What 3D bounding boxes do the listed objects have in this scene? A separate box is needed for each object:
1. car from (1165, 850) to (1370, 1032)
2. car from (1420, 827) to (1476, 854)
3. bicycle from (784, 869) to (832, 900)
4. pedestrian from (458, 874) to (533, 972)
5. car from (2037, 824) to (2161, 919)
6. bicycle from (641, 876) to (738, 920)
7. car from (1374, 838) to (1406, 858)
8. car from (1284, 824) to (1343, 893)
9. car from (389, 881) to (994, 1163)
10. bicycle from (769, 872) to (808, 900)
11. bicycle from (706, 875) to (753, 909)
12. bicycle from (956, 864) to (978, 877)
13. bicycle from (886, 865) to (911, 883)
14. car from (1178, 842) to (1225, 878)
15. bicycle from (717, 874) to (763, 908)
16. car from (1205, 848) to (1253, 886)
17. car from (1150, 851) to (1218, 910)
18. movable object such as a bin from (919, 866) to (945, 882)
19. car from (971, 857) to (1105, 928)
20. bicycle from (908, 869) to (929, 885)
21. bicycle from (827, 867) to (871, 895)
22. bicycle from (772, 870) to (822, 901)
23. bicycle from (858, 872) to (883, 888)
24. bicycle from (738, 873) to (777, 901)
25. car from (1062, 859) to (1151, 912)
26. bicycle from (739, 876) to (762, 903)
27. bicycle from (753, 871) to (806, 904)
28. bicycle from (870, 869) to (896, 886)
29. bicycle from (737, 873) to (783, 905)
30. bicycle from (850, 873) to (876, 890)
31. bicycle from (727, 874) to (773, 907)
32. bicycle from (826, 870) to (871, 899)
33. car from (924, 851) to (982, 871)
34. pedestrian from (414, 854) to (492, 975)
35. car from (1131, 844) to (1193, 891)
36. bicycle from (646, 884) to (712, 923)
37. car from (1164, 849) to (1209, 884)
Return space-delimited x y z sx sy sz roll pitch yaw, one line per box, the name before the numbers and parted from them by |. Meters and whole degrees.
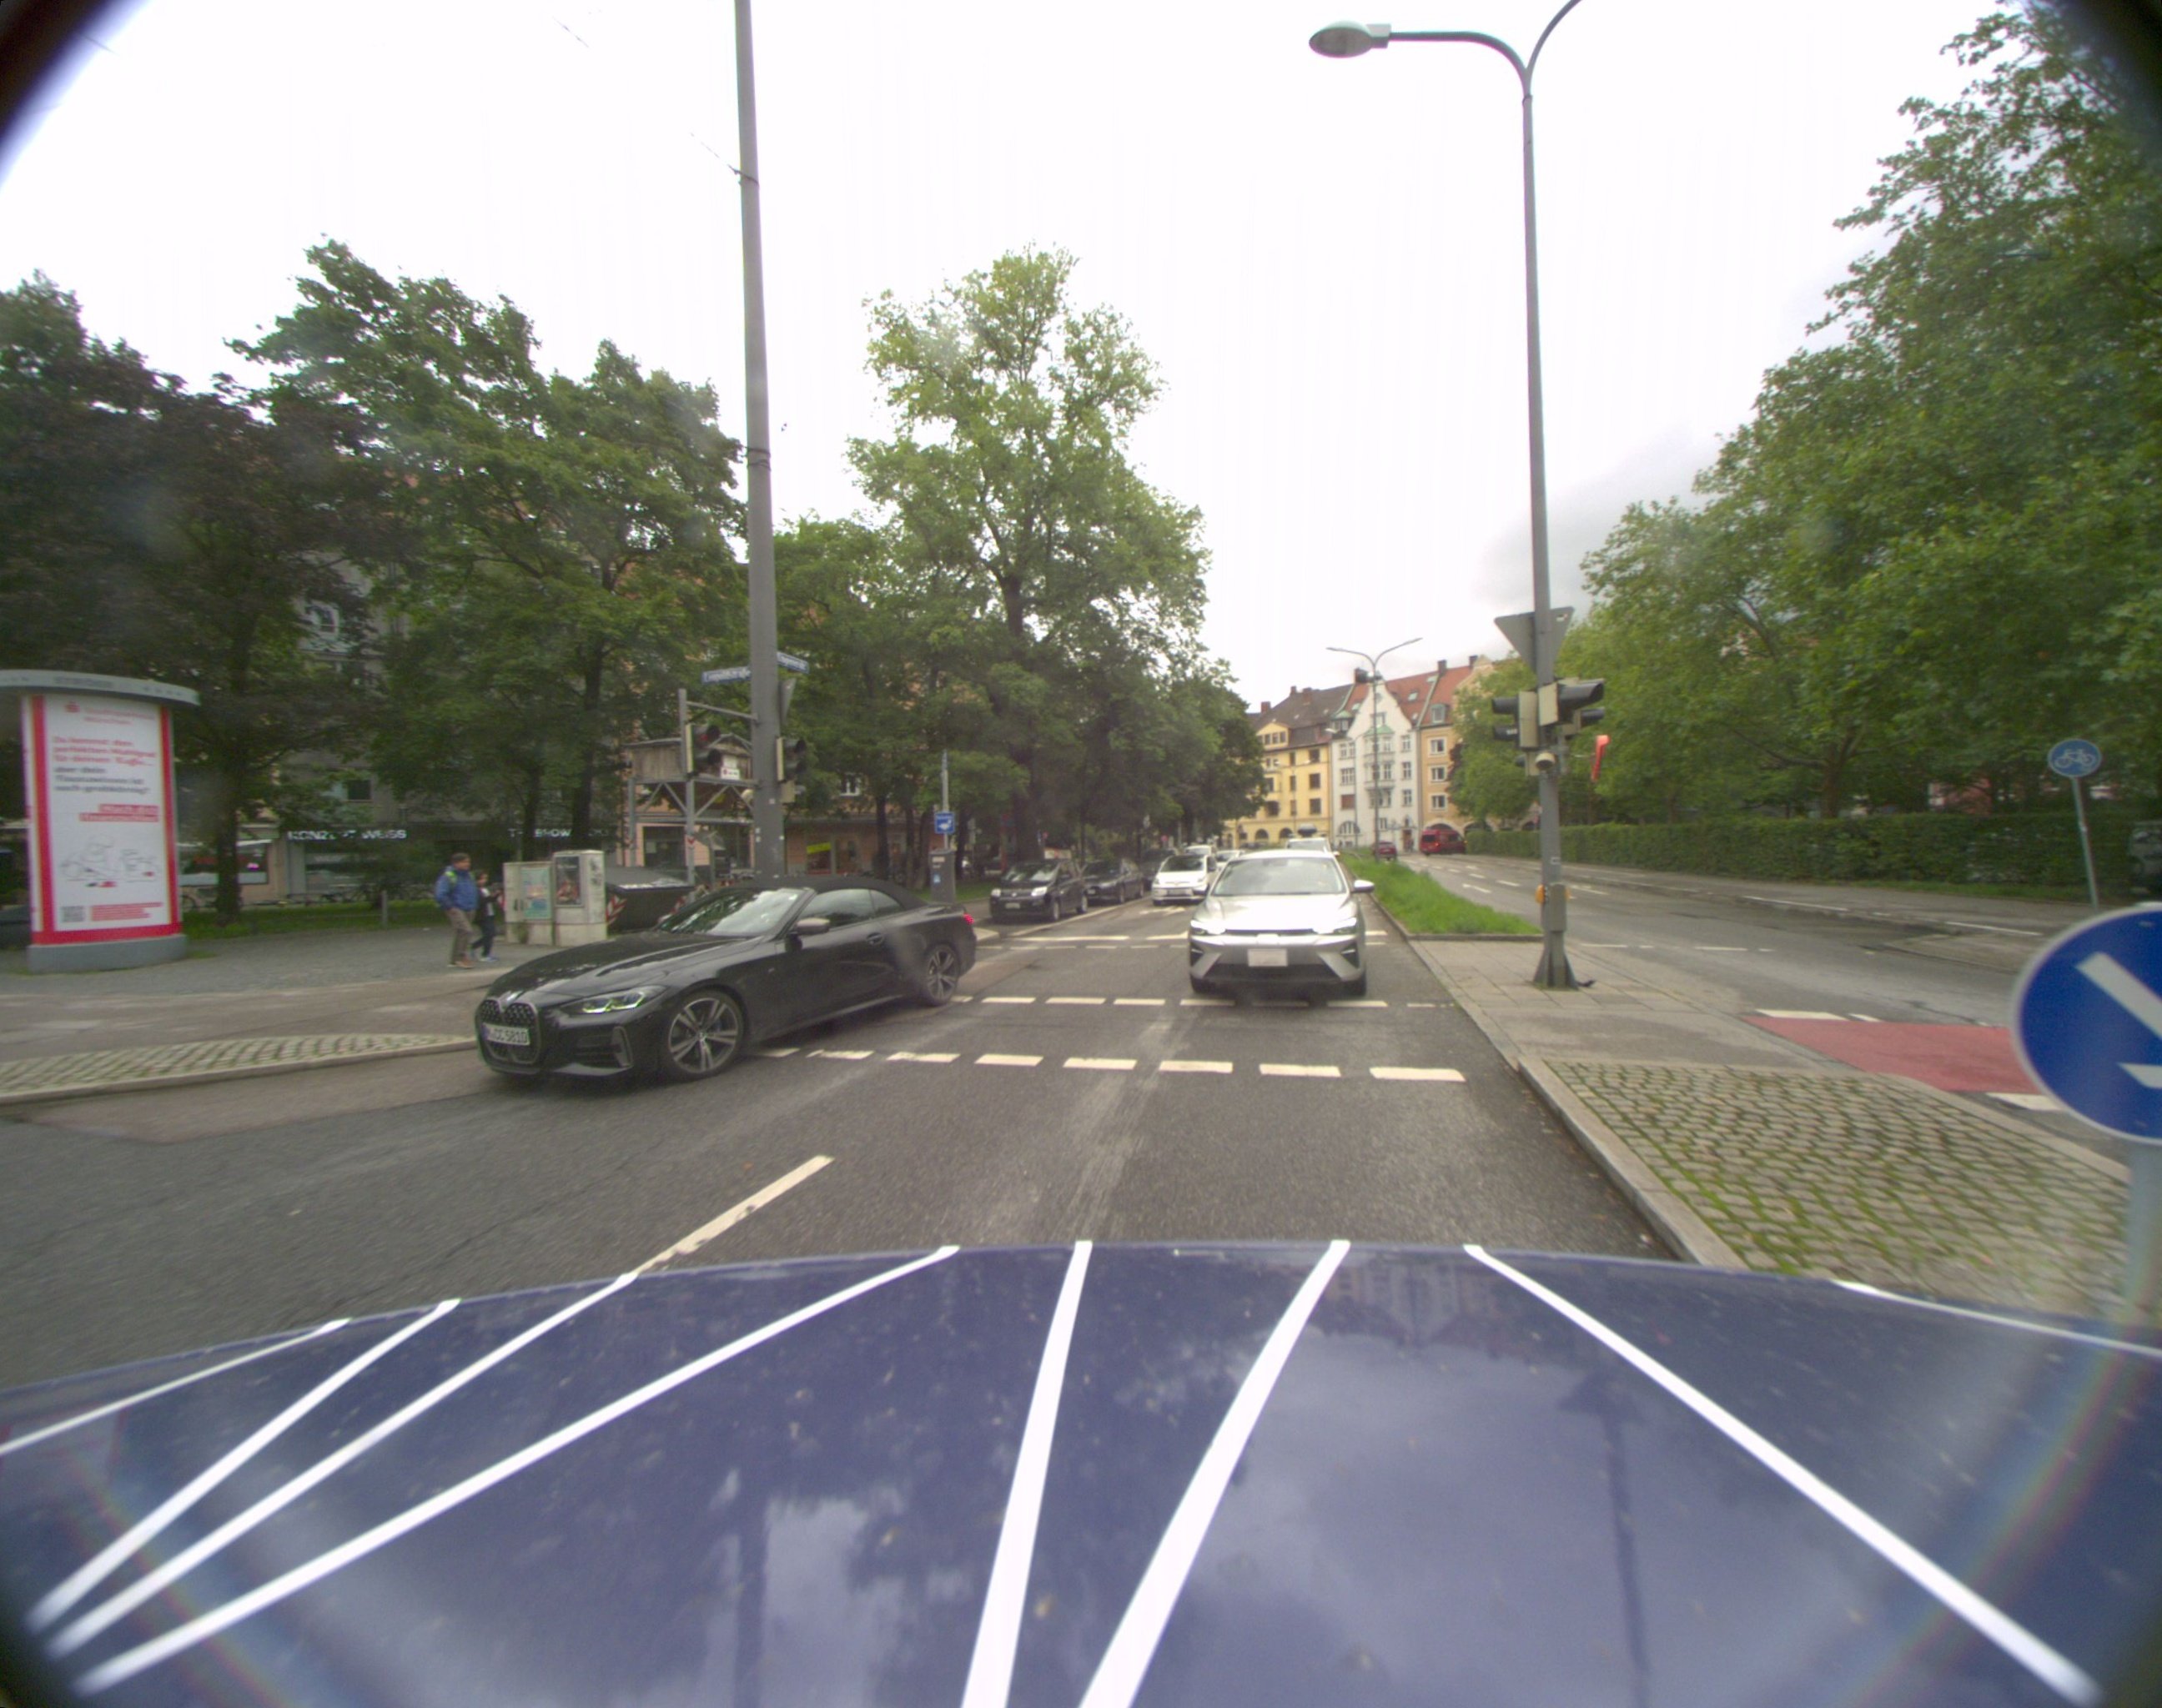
car | 2.433 0.799 8.989 1.772 1.515 4.214 -2 1 21
car | 36.605 -1.347 75.696 6.091 2.574 2.105 0 0 -33
bicycle | -8.848 0.979 24.689 1.413 0.889 0.313 -4 1 -19
pedestrian | -8.842 1.021 11.491 0.719 1.396 0.546 1 2 17
car | 22.852 0.302 15.967 3.522 1.753 1.776 -3 1 -5
bicycle | -10.259 1.149 19.947 2.236 1.010 0.631 -3 1 8
car | 25.982 -0.480 63.995 2.106 1.628 4.946 0 0 18
car | 8.773 0.110 28.411 1.910 2.337 4.951 -1 1 19
car | -2.826 1.065 6.925 1.725 1.381 4.806 -1 1 25
bicycle | -10.304 1.128 26.823 0.312 0.889 1.414 -3 1 24
bicycle | -9.819 1.069 21.203 1.409 0.889 0.313 -3 1 25
bicycle | -6.549 0.945 43.664 1.180 0.719 0.318 -4 1 -28
bicycle | -8.307 0.910 34.608 0.318 0.719 1.180 -2 1 29
car | 6.925 0.300 43.222 1.846 1.845 5.030 -1 1 18
bicycle | -9.666 1.056 21.527 1.409 0.889 0.313 -3 1 25
car | 6.563 0.540 33.436 1.646 1.521 3.891 -1 1 17
car | 3.270 0.749 23.482 1.773 1.515 4.211 -3 1 11
movable object such as a bin | -8.119 1.095 41.413 1.178 0.867 0.775 -1 1 26
car | -0.958 0.902 19.799 1.832 1.540 4.560 -1 1 19
bicycle | -7.723 1.089 36.082 1.175 0.719 0.319 -2 2 44
bicycle | -8.088 0.932 26.498 1.413 0.889 0.313 -4 1 -19
bicycle | -8.889 0.979 23.800 1.412 0.889 0.313 -2 1 -8
bicycle | -9.828 1.217 35.495 1.176 0.719 0.319 -3 1 27
bicycle | -11.690 1.197 27.523 0.312 0.889 1.414 -3 1 24
car | 0.945 0.956 24.913 1.770 1.452 4.647 -1 1 16
bicycle | -11.335 1.198 26.029 0.314 0.889 1.409 -4 1 -38
bicycle | -9.026 1.002 22.772 1.411 0.889 0.313 -3 1 4
bicycle | -8.873 1.038 33.984 1.176 0.719 0.319 -3 1 27
bicycle | -9.377 1.030 22.187 1.409 0.889 0.313 -3 1 25
bicycle | -9.906 1.234 34.565 1.176 0.719 0.319 -3 1 27
bicycle | -9.536 1.043 21.868 1.409 0.889 0.313 -3 1 25
bicycle | -7.930 1.040 25.896 1.413 0.889 0.313 -4 1 -19
car | -10.713 0.597 63.634 4.432 1.458 1.864 -3 1 28
pedestrian | -9.005 0.843 10.902 0.719 1.652 0.546 3 3 17
car | 3.540 0.519 32.450 1.934 1.809 4.558 -1 1 14
bicycle | -10.188 1.235 19.289 0.312 0.888 1.415 -2 0 44
car | 5.261 0.582 37.509 1.521 1.540 3.666 -1 1 18
